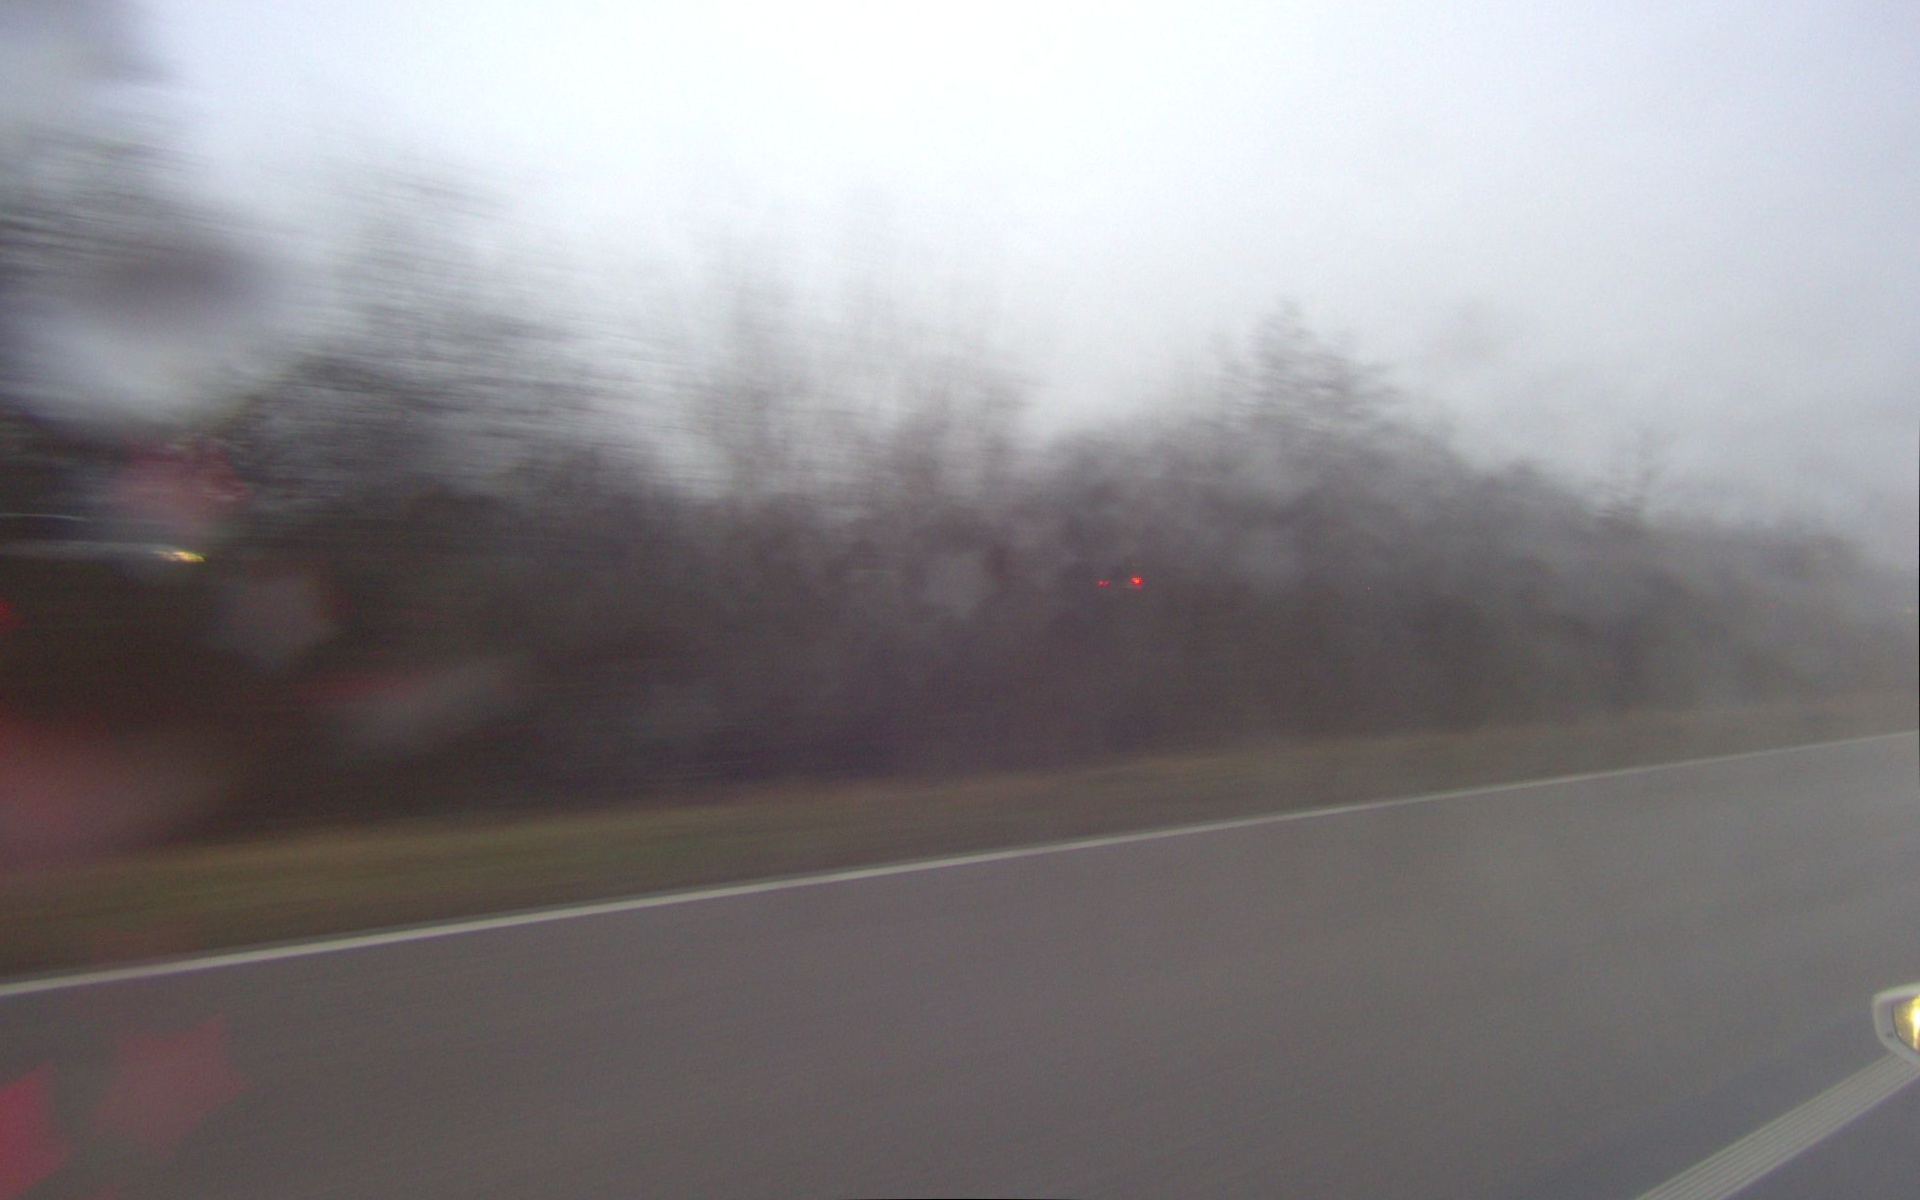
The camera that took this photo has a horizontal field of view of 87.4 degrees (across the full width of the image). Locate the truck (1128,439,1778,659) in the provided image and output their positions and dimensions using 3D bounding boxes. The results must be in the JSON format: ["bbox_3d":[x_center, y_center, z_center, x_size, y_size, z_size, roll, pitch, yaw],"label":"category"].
[{"bbox_3d":[26.120,-1.354,48.841,39.673,7.815,7.508,2,0,-30],"label":"truck"}]
